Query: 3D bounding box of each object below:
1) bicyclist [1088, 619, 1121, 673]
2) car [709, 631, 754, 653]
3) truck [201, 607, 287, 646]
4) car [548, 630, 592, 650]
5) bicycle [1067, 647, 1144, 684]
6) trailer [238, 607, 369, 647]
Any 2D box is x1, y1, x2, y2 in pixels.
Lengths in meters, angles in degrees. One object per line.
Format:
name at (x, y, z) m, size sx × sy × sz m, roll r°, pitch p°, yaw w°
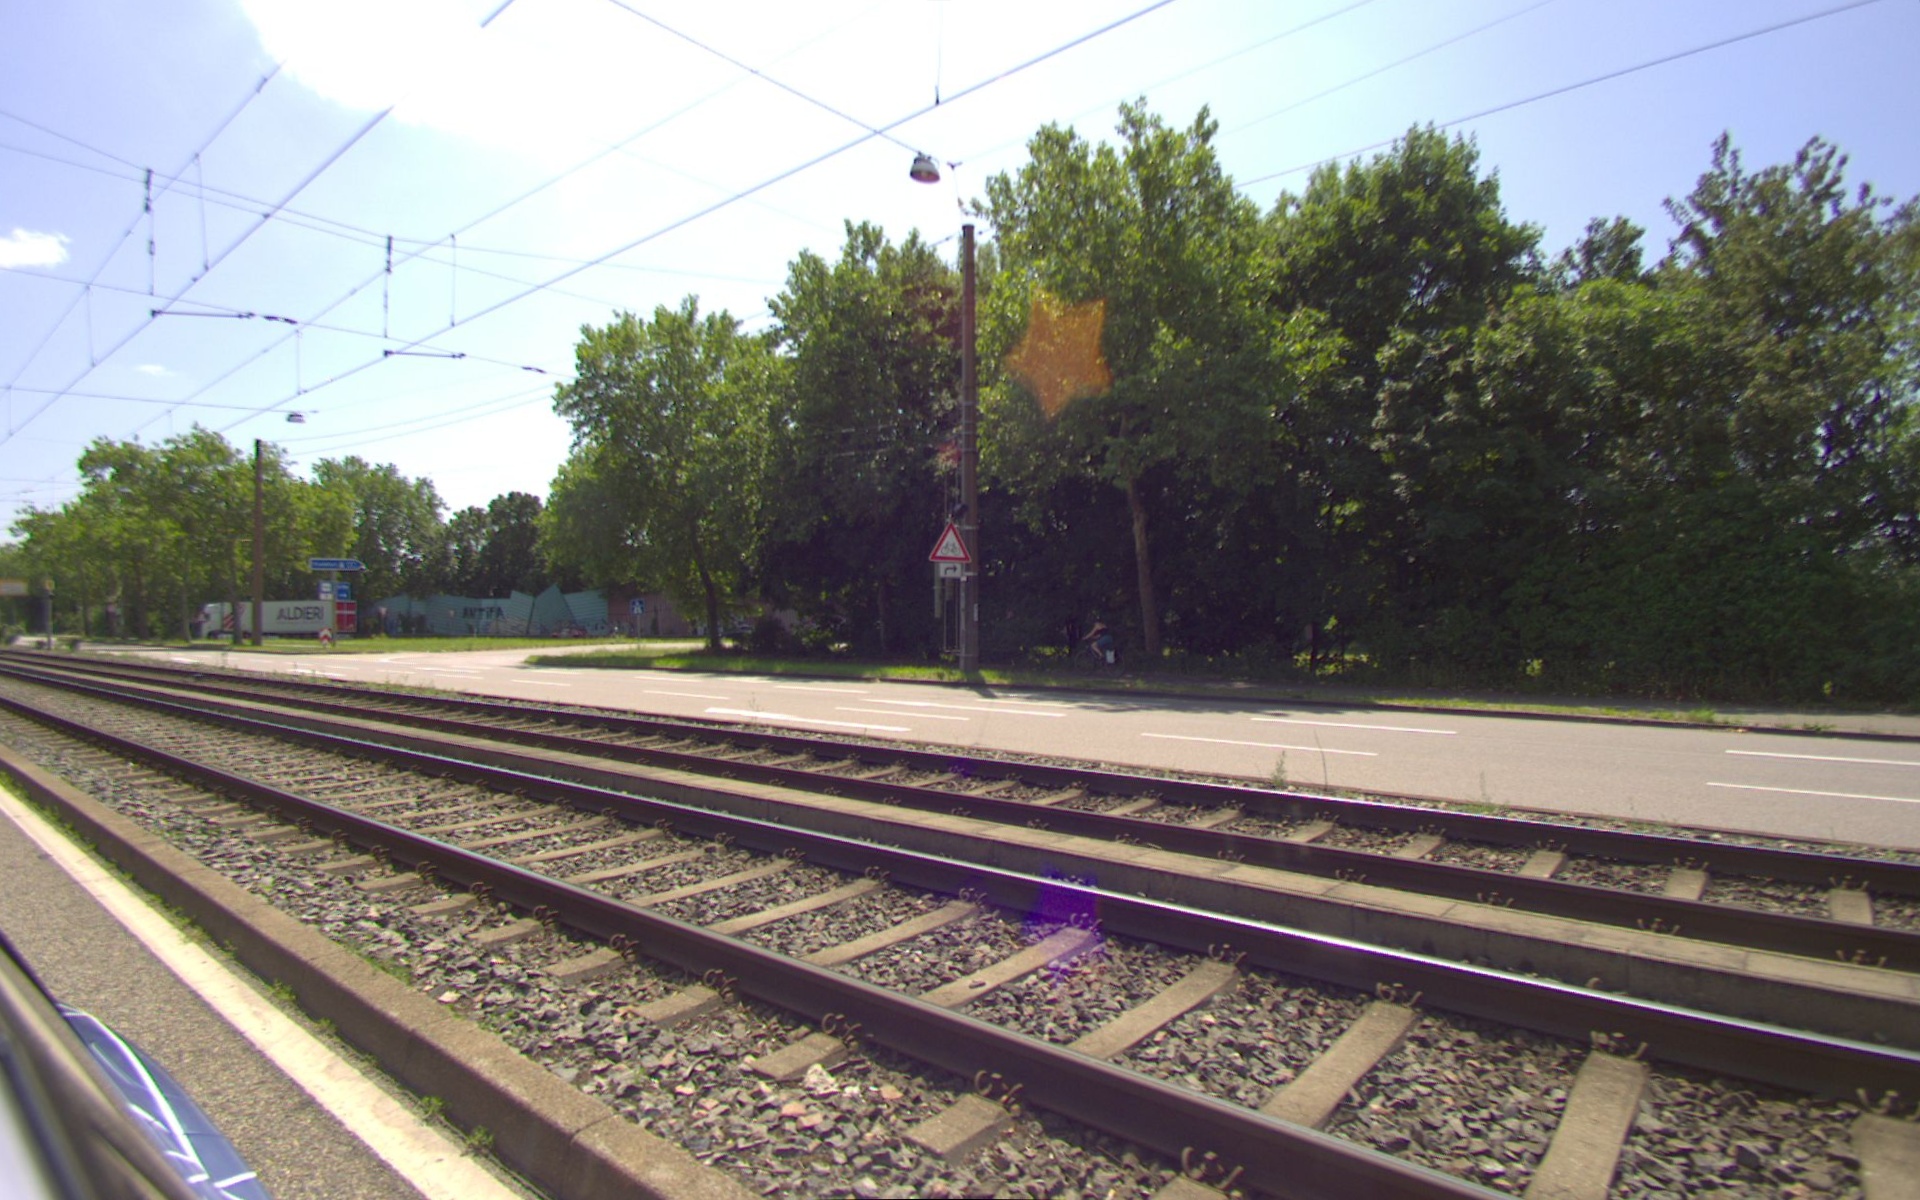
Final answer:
bicyclist at (3.820, 1.211, 26.718) m, size 0.562 × 1.378 × 0.632 m, roll -1°, pitch 1°, yaw -43°
car at (-19.305, 3.533, 85.425) m, size 3.367 × 1.806 × 1.557 m, roll -1°, pitch -2°, yaw 15°
truck at (-70.309, 2.653, 99.408) m, size 6.696 × 3.730 × 3.402 m, roll -1°, pitch -2°, yaw 15°
car at (-34.299, 3.513, 88.987) m, size 3.367 × 1.806 × 1.557 m, roll -1°, pitch -2°, yaw 15°
bicycle at (3.807, 1.706, 26.650) m, size 0.579 × 0.825 × 2.070 m, roll -2°, pitch 1°, yaw -44°
trailer at (-63.248, 2.619, 97.548) m, size 11.994 × 3.683 × 3.373 m, roll -1°, pitch -2°, yaw 15°
